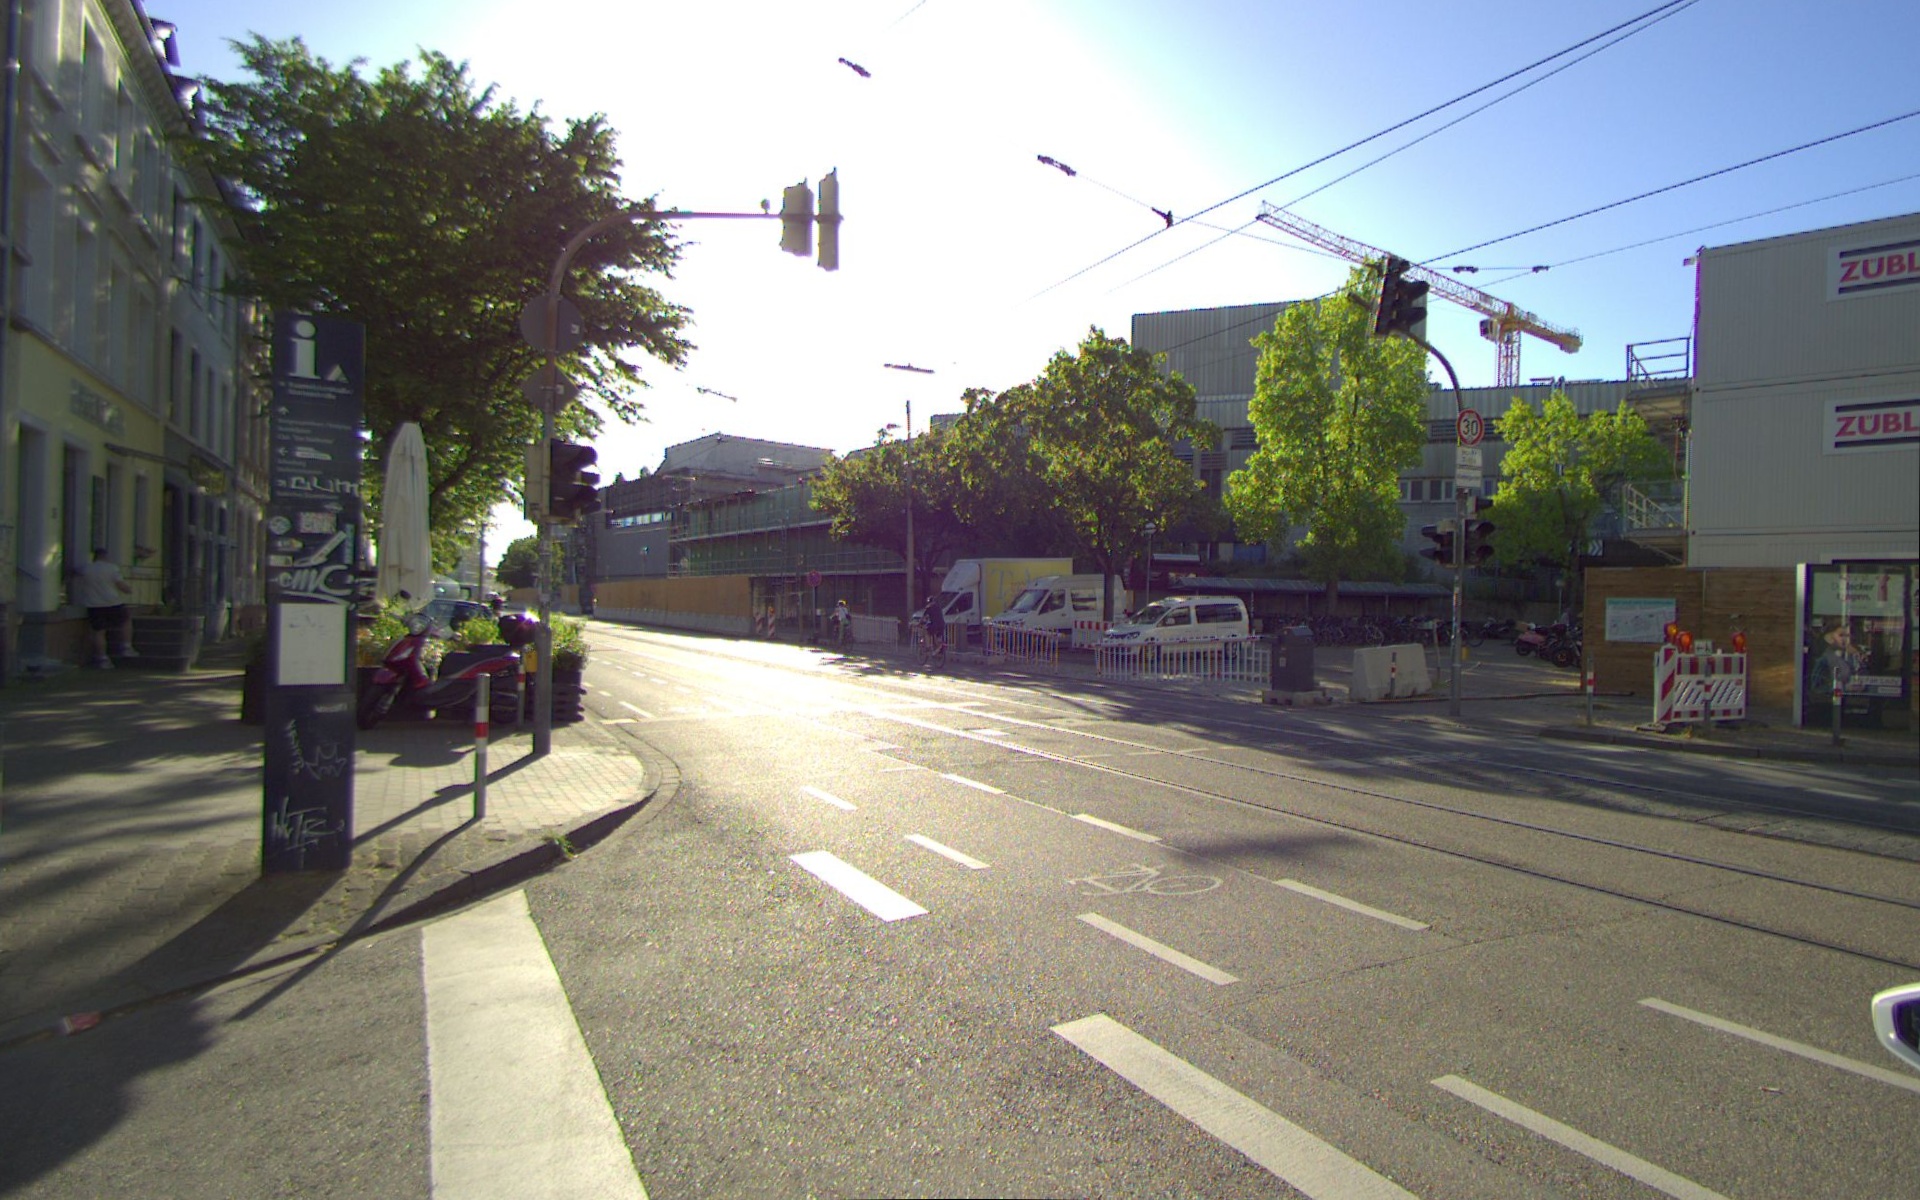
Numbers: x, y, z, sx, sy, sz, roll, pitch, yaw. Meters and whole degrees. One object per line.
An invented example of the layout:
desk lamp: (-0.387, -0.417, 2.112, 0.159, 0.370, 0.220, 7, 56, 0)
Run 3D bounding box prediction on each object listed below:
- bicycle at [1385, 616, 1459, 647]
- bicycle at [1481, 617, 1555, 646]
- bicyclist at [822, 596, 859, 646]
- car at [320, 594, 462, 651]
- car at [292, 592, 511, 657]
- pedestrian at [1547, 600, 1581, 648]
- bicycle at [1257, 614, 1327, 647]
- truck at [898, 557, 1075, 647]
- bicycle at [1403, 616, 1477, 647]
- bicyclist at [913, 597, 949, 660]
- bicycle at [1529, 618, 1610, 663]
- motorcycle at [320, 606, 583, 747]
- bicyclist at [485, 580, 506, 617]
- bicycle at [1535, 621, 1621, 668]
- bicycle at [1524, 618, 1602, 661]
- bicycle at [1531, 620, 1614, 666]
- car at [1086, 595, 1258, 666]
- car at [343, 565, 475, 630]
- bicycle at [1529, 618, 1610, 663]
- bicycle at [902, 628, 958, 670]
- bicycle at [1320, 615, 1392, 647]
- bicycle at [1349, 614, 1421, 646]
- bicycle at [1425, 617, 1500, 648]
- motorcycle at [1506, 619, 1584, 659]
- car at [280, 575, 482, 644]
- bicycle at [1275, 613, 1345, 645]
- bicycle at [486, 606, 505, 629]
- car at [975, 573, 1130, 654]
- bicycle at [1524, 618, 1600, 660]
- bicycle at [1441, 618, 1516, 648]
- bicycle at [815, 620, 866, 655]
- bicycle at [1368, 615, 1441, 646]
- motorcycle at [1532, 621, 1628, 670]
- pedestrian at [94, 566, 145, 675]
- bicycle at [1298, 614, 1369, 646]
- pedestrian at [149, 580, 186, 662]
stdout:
bicycle: (18.809, 1.249, 41.006, 0.809, 1.163, 3.075, 1, 0, -20)
bicycle: (24.525, 1.367, 44.212, 0.809, 1.163, 3.075, 1, 0, -20)
bicyclist: (-4.171, 0.727, 35.096, 0.885, 1.661, 1.092, 3, -1, -29)
car: (-17.117, 0.646, 30.318, 1.661, 1.523, 3.314, 4, 2, 36)
car: (-14.206, 0.632, 25.804, 1.662, 1.510, 4.626, 1, -1, 37)
pedestrian: (25.577, 1.007, 42.518, 0.924, 2.040, 0.800, 1, 0, -19)
bicycle: (12.684, 1.150, 38.502, 0.809, 1.163, 3.075, 1, 0, -20)
truck: (1.151, 0.034, 40.833, 7.034, 3.393, 2.371, -1, 1, -30)
bicycle: (19.707, 1.284, 41.350, 0.809, 1.163, 3.075, 1, 0, -20)
bicyclist: (-0.789, 0.762, 27.203, 0.674, 1.680, 0.805, 1, 0, -30)
bicycle: (18.173, 1.200, 29.987, 2.010, 1.274, 0.471, 1, 0, 23)
motorcycle: (-5.548, 0.819, 11.174, 0.983, 1.368, 2.417, 1, -3, 30)
bicyclist: (-20.765, -0.062, 44.916, 0.718, 1.593, 1.020, 1, 0, -30)
bicycle: (17.585, 1.251, 28.614, 2.010, 1.274, 0.471, 1, 0, 23)
bicycle: (18.926, 1.226, 31.561, 2.010, 1.274, 0.543, 1, 0, 23)
bicycle: (17.973, 1.242, 29.516, 2.010, 1.274, 0.471, 1, 0, 23)
car: (6.391, 0.841, 30.264, 4.878, 1.918, 1.998, -1, 1, -25)
car: (-25.867, -0.077, 47.215, 5.143, 2.611, 2.225, 5, -2, -33)
bicycle: (18.460, 1.211, 30.460, 2.010, 1.274, 0.543, 1, 0, 23)
bicycle: (-0.830, 1.308, 27.251, 0.674, 1.032, 1.906, 1, 0, -30)
bicycle: (15.606, 1.189, 39.731, 0.809, 1.163, 3.075, 1, 0, -20)
bicycle: (17.026, 1.179, 40.342, 0.809, 1.163, 3.075, 1, 0, -20)
bicycle: (20.835, 1.329, 41.711, 0.809, 1.163, 3.075, 1, 0, -20)
motorcycle: (19.401, 1.279, 33.334, 2.169, 1.274, 0.543, 1, 0, 23)
car: (-18.634, 0.300, 32.579, 2.006, 2.018, 5.328, 2, 0, 37)
bicycle: (13.549, 1.108, 38.973, 0.809, 1.163, 3.075, 1, 0, -20)
bicycle: (-20.840, 0.785, 45.018, 0.605, 0.966, 1.868, 1, 0, -30)
car: (3.318, 0.410, 35.554, 5.321, 2.565, 1.982, -3, 2, -33)
bicycle: (19.215, 1.236, 32.083, 2.010, 1.274, 0.543, 1, 0, 23)
bicycle: (21.675, 1.362, 42.095, 0.809, 1.163, 3.075, 1, 0, -20)
bicycle: (-4.197, 1.296, 35.096, 0.885, 1.107, 2.412, 3, -1, -28)
bicycle: (17.972, 1.216, 40.727, 0.809, 1.163, 3.075, 1, 0, -20)
motorcycle: (17.038, 1.244, 27.661, 2.169, 1.274, 0.543, 1, 0, 23)
pedestrian: (-13.254, 0.315, 15.846, 0.533, 1.665, 0.565, 0, 1, -32)
bicycle: (14.598, 1.149, 39.404, 0.809, 1.163, 3.075, 1, 0, -20)
pedestrian: (-16.455, 0.427, 20.852, 0.533, 1.665, 0.565, 0, 1, -32)
